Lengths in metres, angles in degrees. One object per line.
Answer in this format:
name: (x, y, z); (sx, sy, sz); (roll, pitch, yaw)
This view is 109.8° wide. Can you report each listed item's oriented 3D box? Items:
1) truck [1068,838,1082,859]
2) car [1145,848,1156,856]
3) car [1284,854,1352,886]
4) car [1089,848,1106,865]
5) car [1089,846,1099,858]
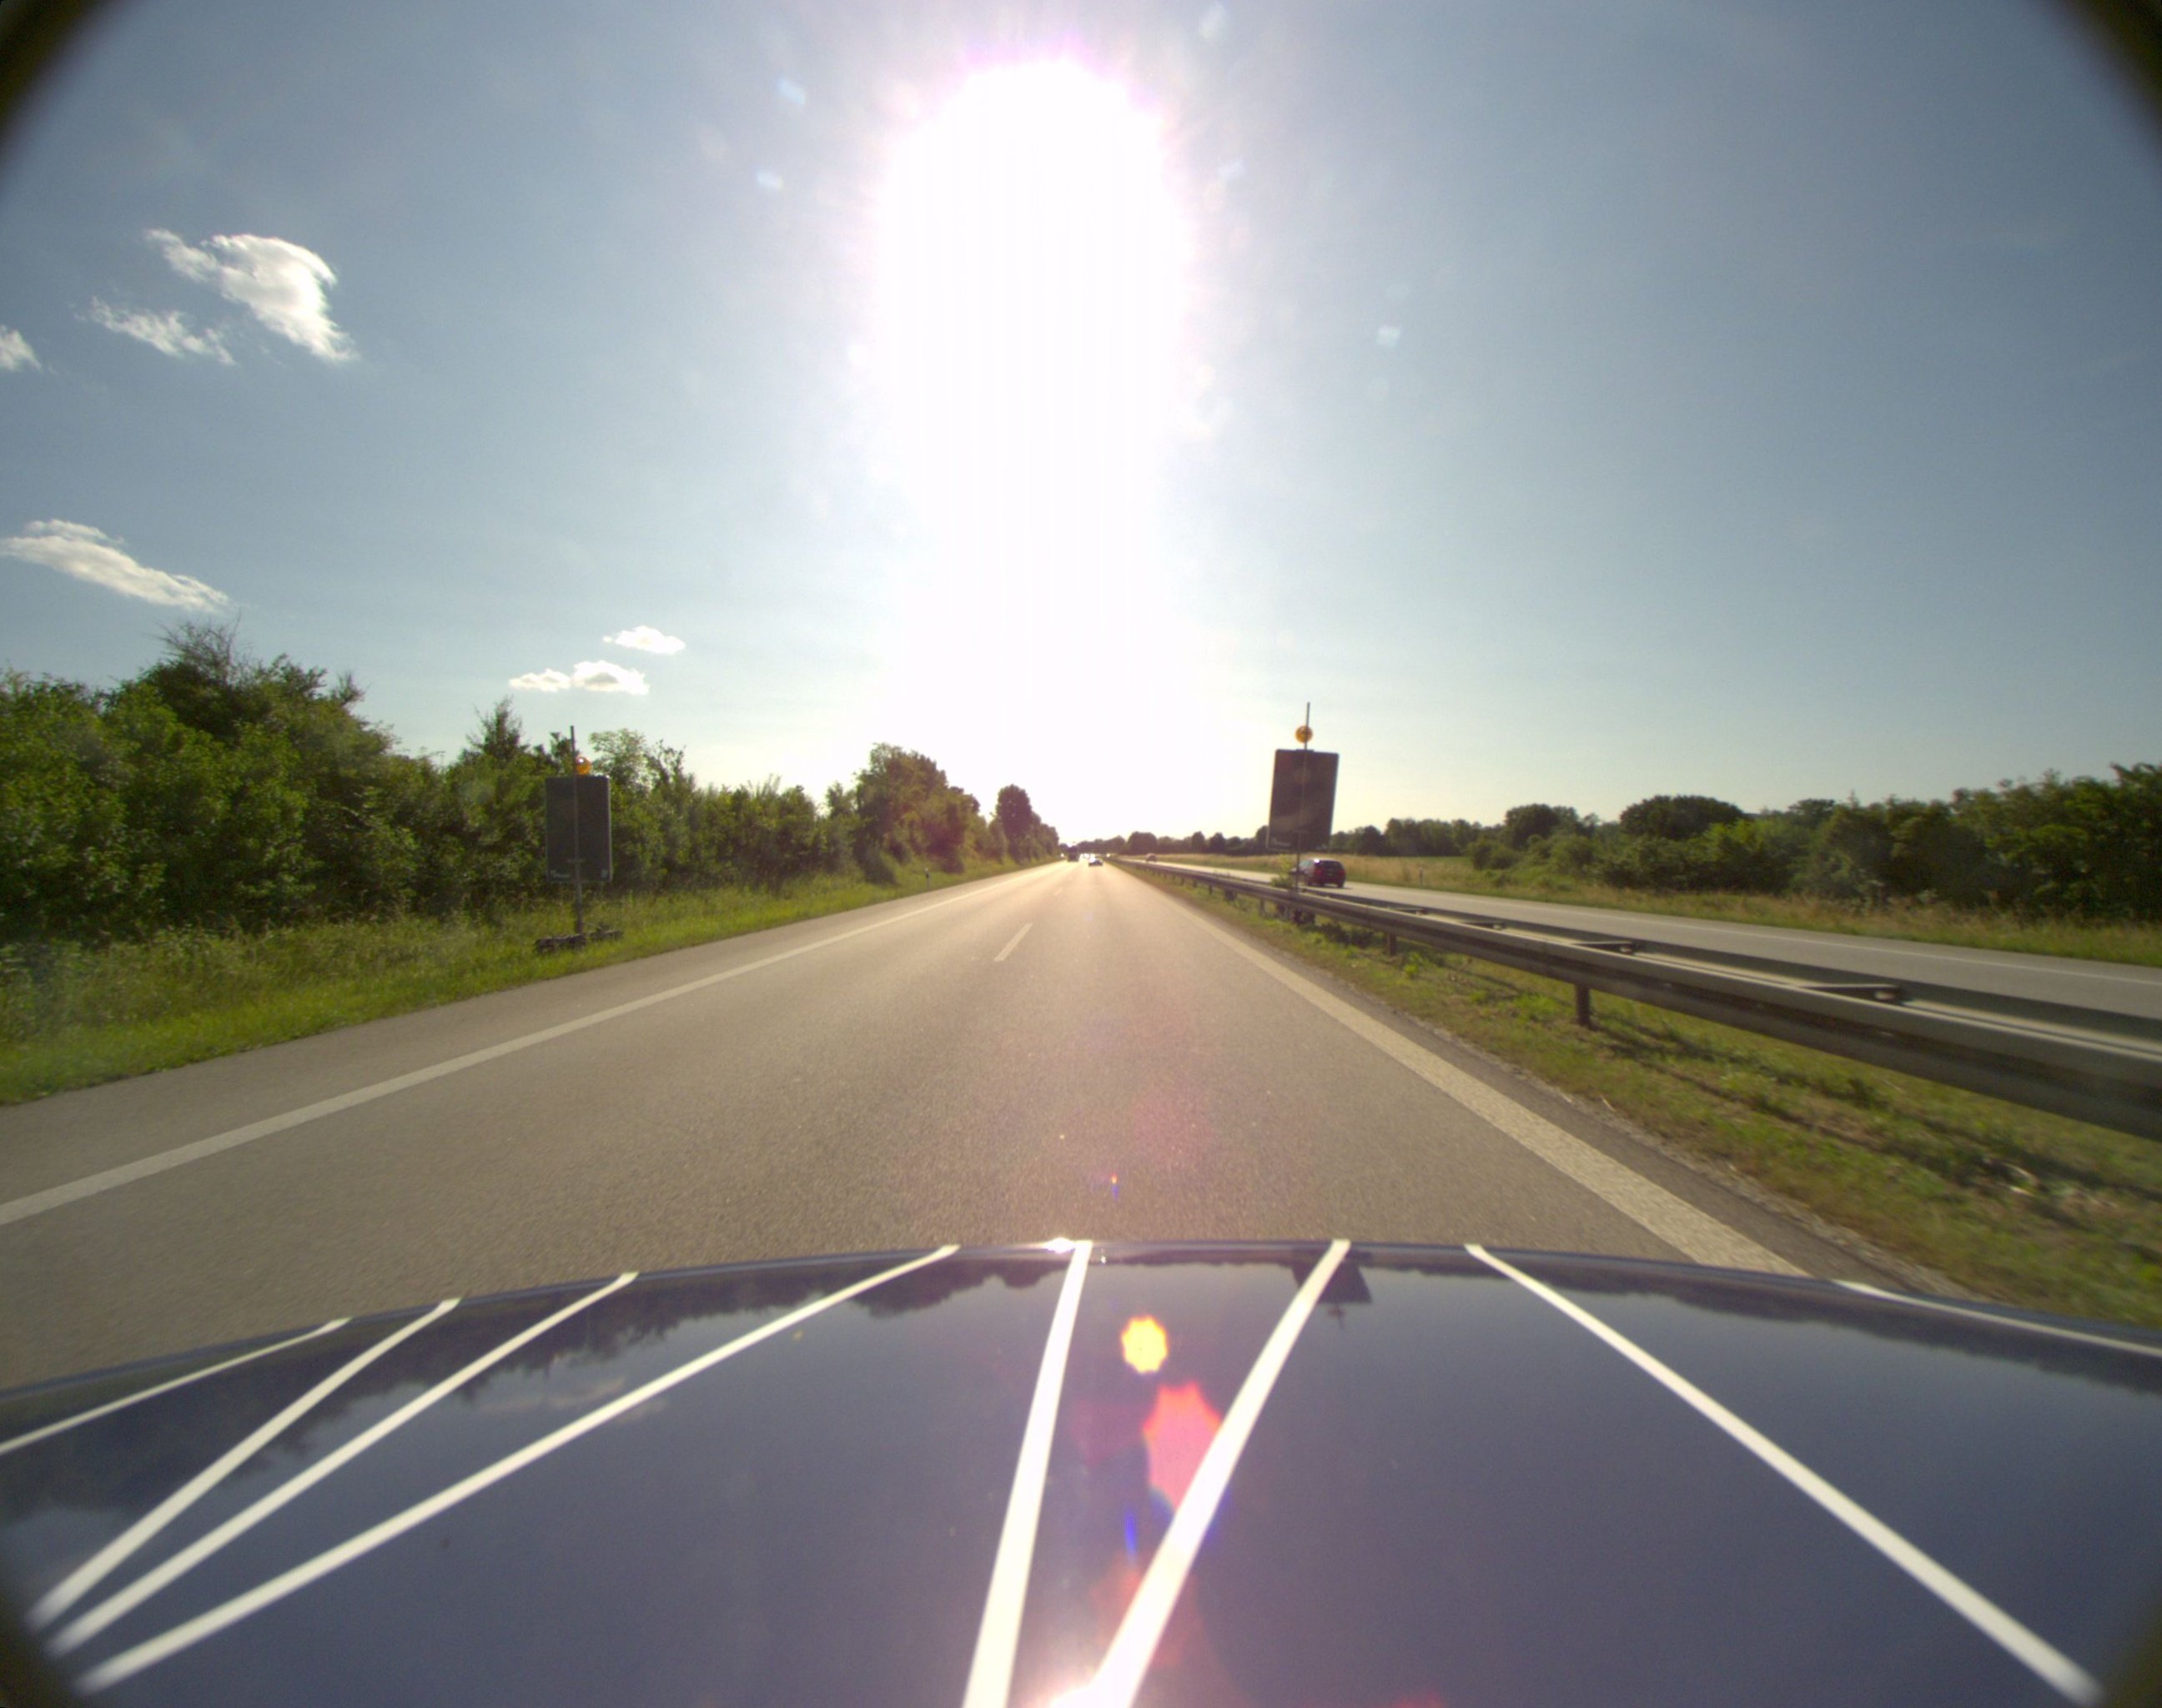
truck: (-1.205, -1.229, 166.272); (2.759, 4.242, 8.492); (-2, 1, 1)
car: (13.744, -0.437, 150.450); (1.907, 1.673, 4.731); (0, 1, 1)
car: (11.633, 0.726, 37.640); (1.837, 1.390, 4.922); (2, 0, 0)
car: (1.997, 0.275, 93.258); (1.998, 2.002, 4.358); (-2, 1, 1)
car: (2.942, -0.449, 174.184); (2.193, 2.502, 5.351); (-2, 1, 1)
